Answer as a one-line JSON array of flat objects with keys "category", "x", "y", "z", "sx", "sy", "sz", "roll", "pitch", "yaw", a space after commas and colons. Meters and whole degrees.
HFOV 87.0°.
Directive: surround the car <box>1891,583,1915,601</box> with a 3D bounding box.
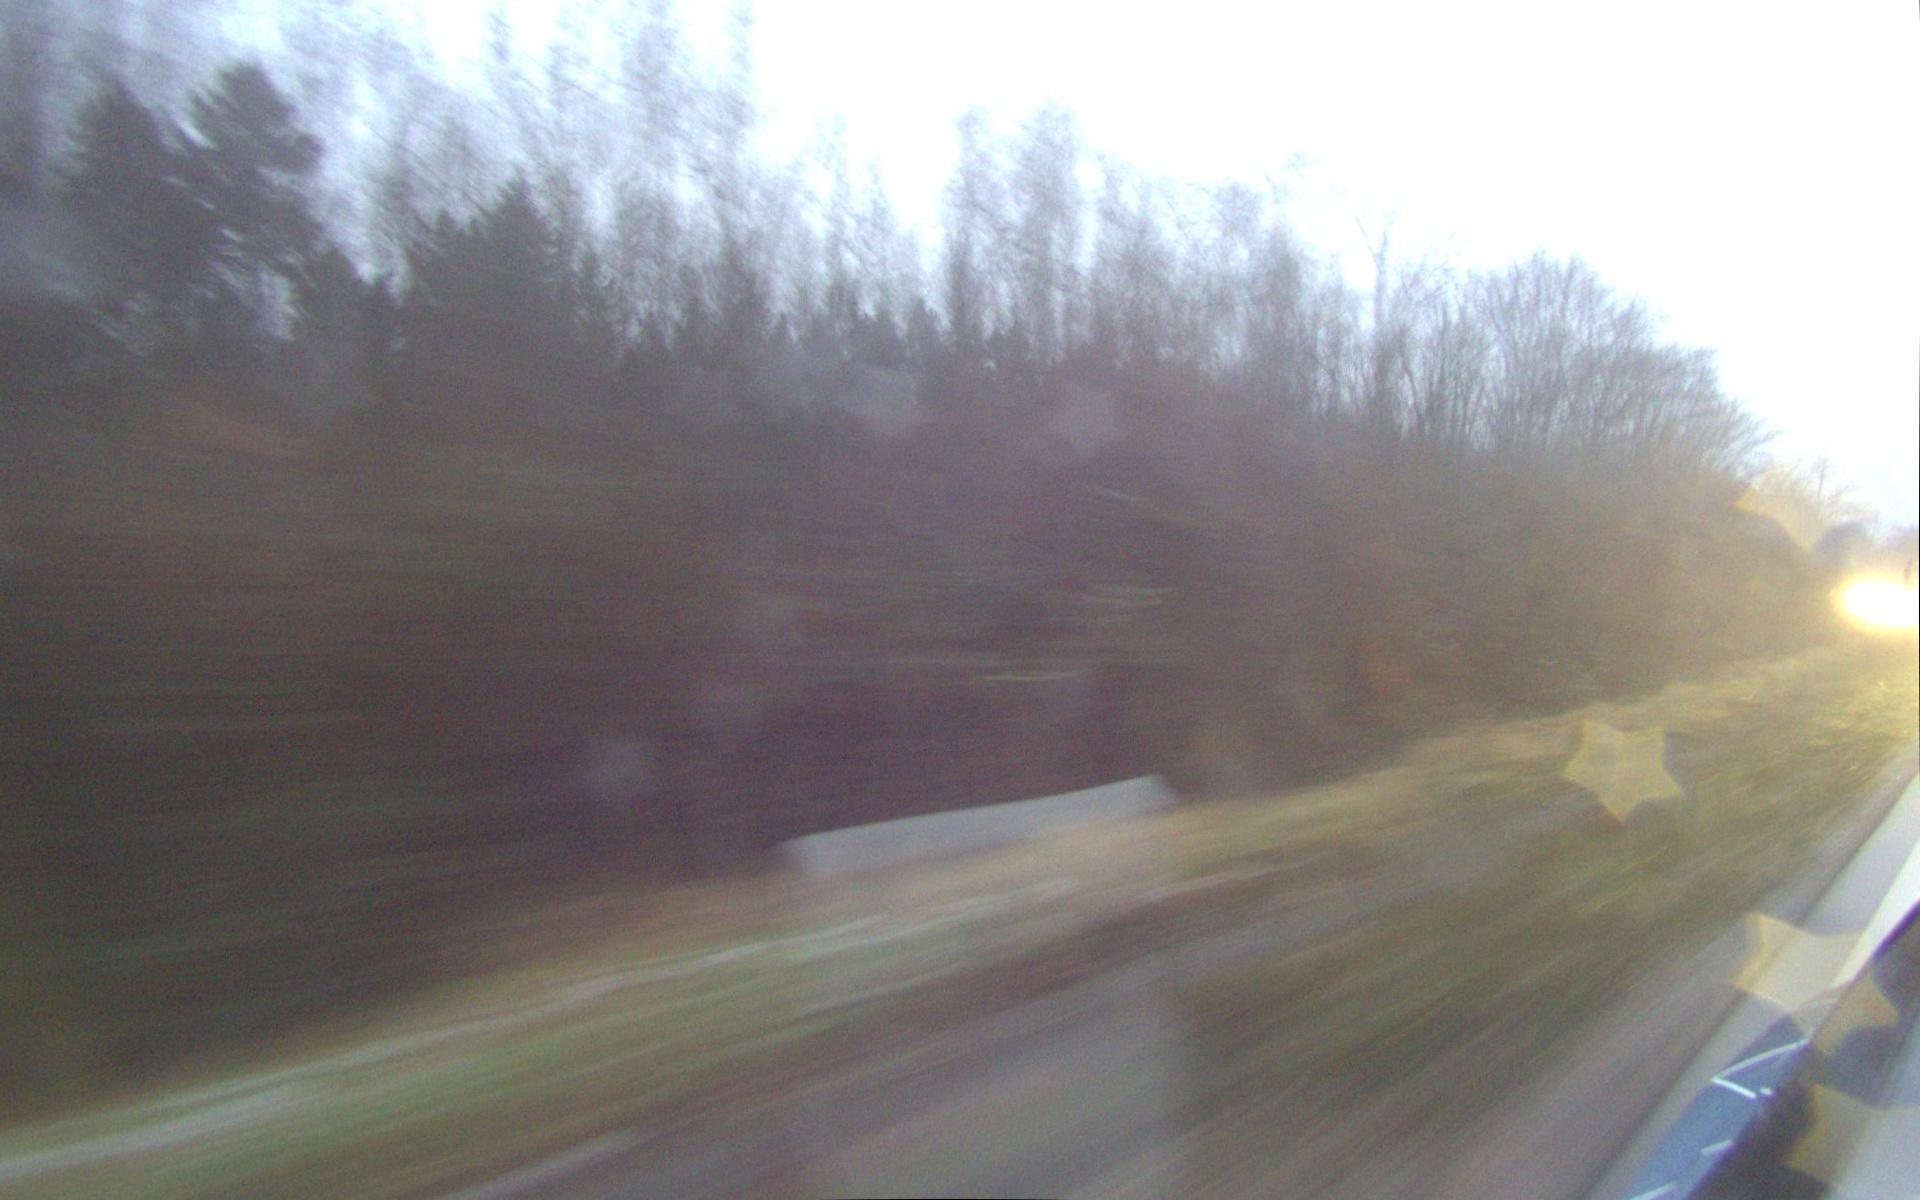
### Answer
[{"category": "car", "x": 95.363, "y": -0.810, "z": 102.349, "sx": 1.697, "sy": 1.752, "sz": 3.938, "roll": 0, "pitch": 2, "yaw": 44}]
